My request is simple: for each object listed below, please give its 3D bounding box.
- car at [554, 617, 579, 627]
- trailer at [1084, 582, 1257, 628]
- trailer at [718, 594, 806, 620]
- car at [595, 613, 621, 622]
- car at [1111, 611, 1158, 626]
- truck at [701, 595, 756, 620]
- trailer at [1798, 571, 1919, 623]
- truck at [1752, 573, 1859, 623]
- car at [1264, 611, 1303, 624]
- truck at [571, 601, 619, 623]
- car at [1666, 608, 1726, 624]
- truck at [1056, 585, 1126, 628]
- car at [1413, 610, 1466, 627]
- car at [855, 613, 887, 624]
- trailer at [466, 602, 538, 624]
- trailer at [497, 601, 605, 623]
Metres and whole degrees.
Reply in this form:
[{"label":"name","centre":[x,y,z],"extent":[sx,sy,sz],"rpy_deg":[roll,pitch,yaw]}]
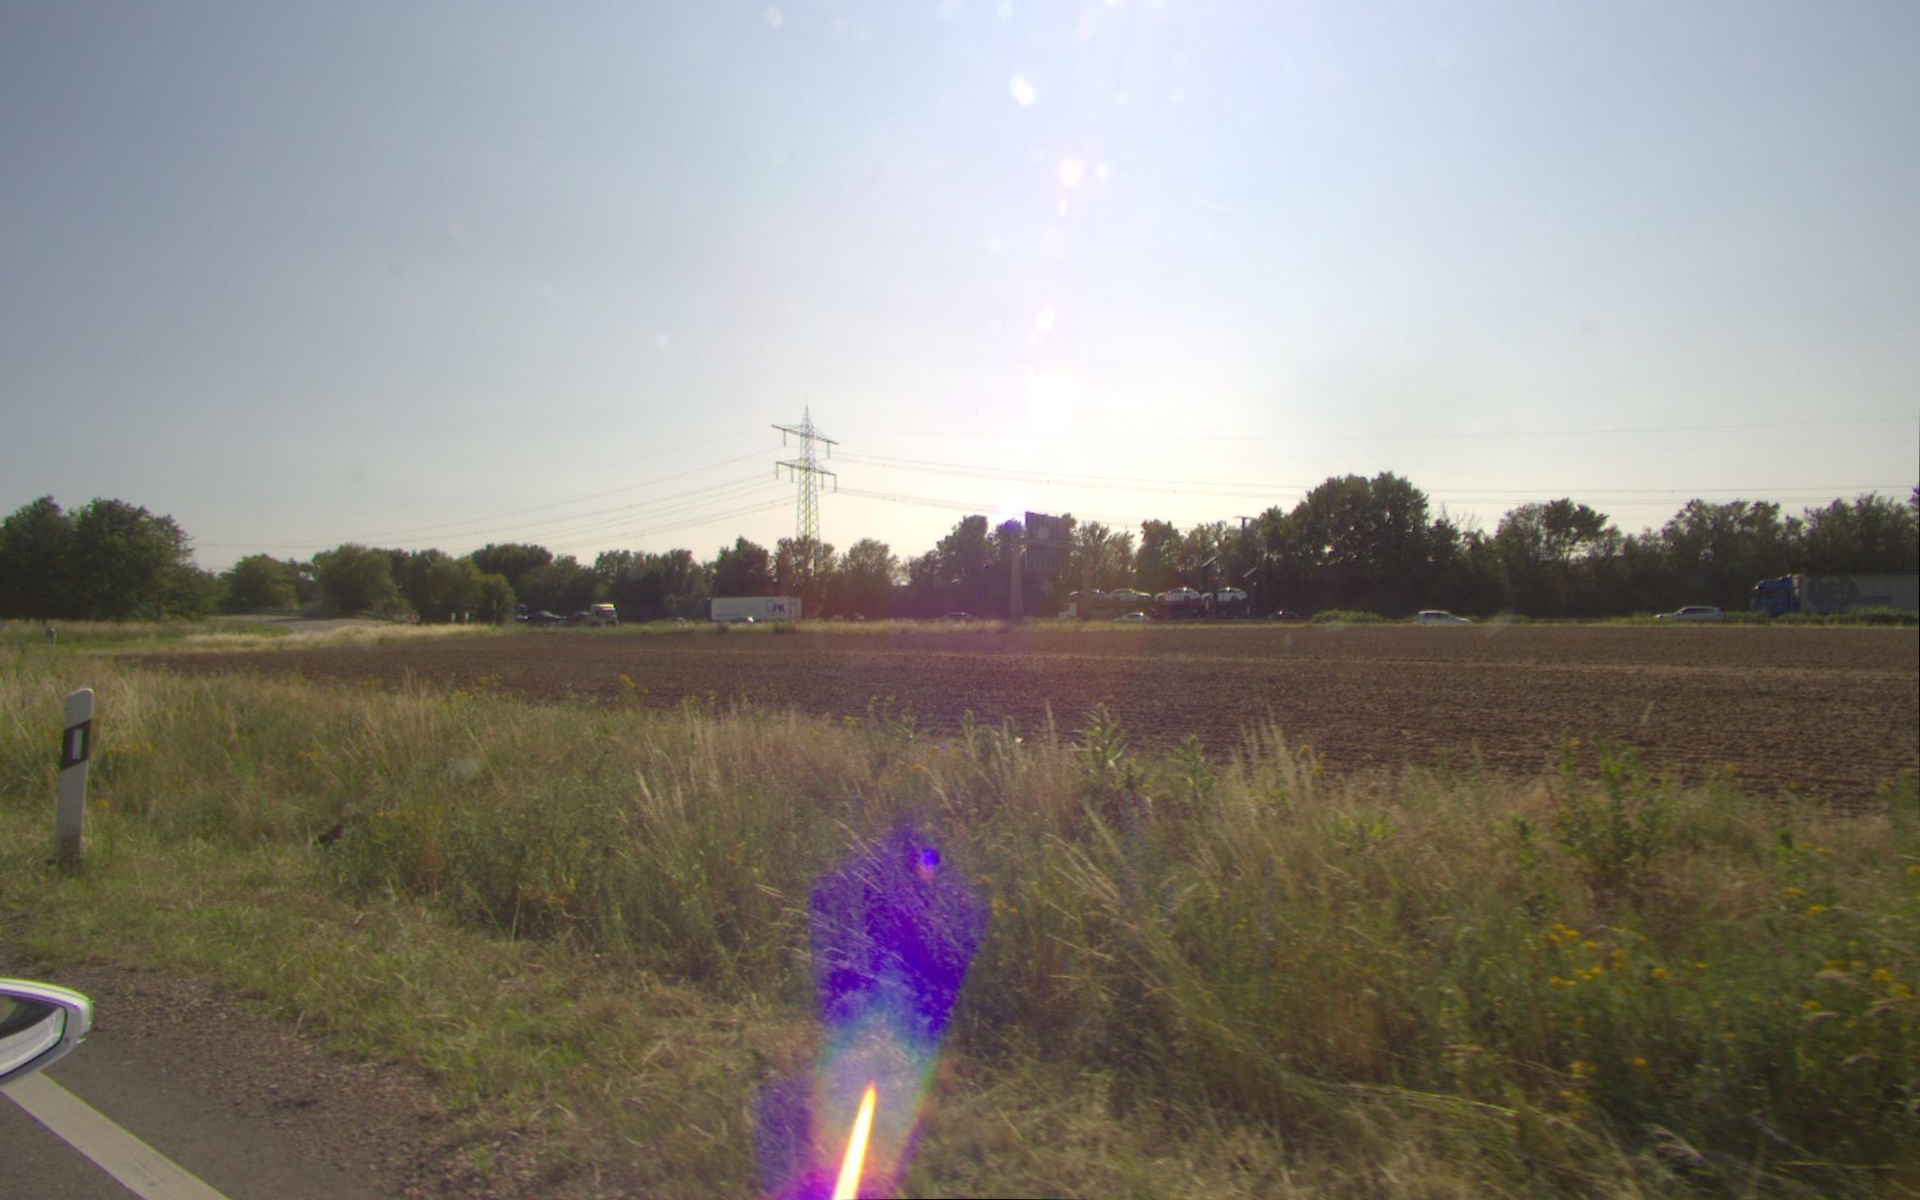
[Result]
[{"label":"car","centre":[-58.918,3.259,149.923],"extent":[3.572,1.390,1.769],"rpy_deg":[-1,-2,32]},{"label":"trailer","centre":[21.551,0.608,103.745],"extent":[17.297,4.512,3.417],"rpy_deg":[-1,0,29]},{"label":"trailer","centre":[-26.218,0.931,132.295],"extent":[12.270,3.310,3.280],"rpy_deg":[-1,0,30]},{"label":"car","centre":[-47.735,2.378,135.698],"extent":[3.526,1.166,1.394],"rpy_deg":[0,-1,29]},{"label":"car","centre":[17.193,1.797,98.621],"extent":[4.185,1.403,1.848],"rpy_deg":[0,-1,31]},{"label":"truck","centre":[-31.259,1.010,135.208],"extent":[6.874,3.310,3.280],"rpy_deg":[-1,0,30]},{"label":"trailer","centre":[71.385,-0.183,74.586],"extent":[13.435,3.782,3.066],"rpy_deg":[-1,-1,33]},{"label":"truck","centre":[65.824,-0.084,78.140],"extent":[6.000,3.782,3.066],"rpy_deg":[0,-1,32]},{"label":"car","centre":[29.397,1.565,90.945],"extent":[3.134,1.166,1.393],"rpy_deg":[0,-1,31]},{"label":"truck","centre":[-43.477,1.414,119.292],"extent":[5.452,2.565,2.509],"rpy_deg":[0,0,30]},{"label":"car","centre":[55.529,1.209,75.650],"extent":[3.529,1.166,1.392],"rpy_deg":[0,-1,32]},{"label":"truck","centre":[14.112,0.728,107.904],"extent":[6.604,4.512,3.417],"rpy_deg":[-1,0,29]},{"label":"car","centre":[37.013,1.429,77.273],"extent":[3.565,1.250,1.545],"rpy_deg":[0,-3,31]},{"label":"car","centre":[-10.172,2.116,114.783],"extent":[3.526,1.166,1.394],"rpy_deg":[0,-1,29]},{"label":"trailer","centre":[-72.395,1.984,158.111],"extent":[13.250,3.310,3.280],"rpy_deg":[0,0,30]},{"label":"trailer","centre":[-50.581,1.499,123.372],"extent":[16.827,2.565,2.509],"rpy_deg":[0,0,30]}]
